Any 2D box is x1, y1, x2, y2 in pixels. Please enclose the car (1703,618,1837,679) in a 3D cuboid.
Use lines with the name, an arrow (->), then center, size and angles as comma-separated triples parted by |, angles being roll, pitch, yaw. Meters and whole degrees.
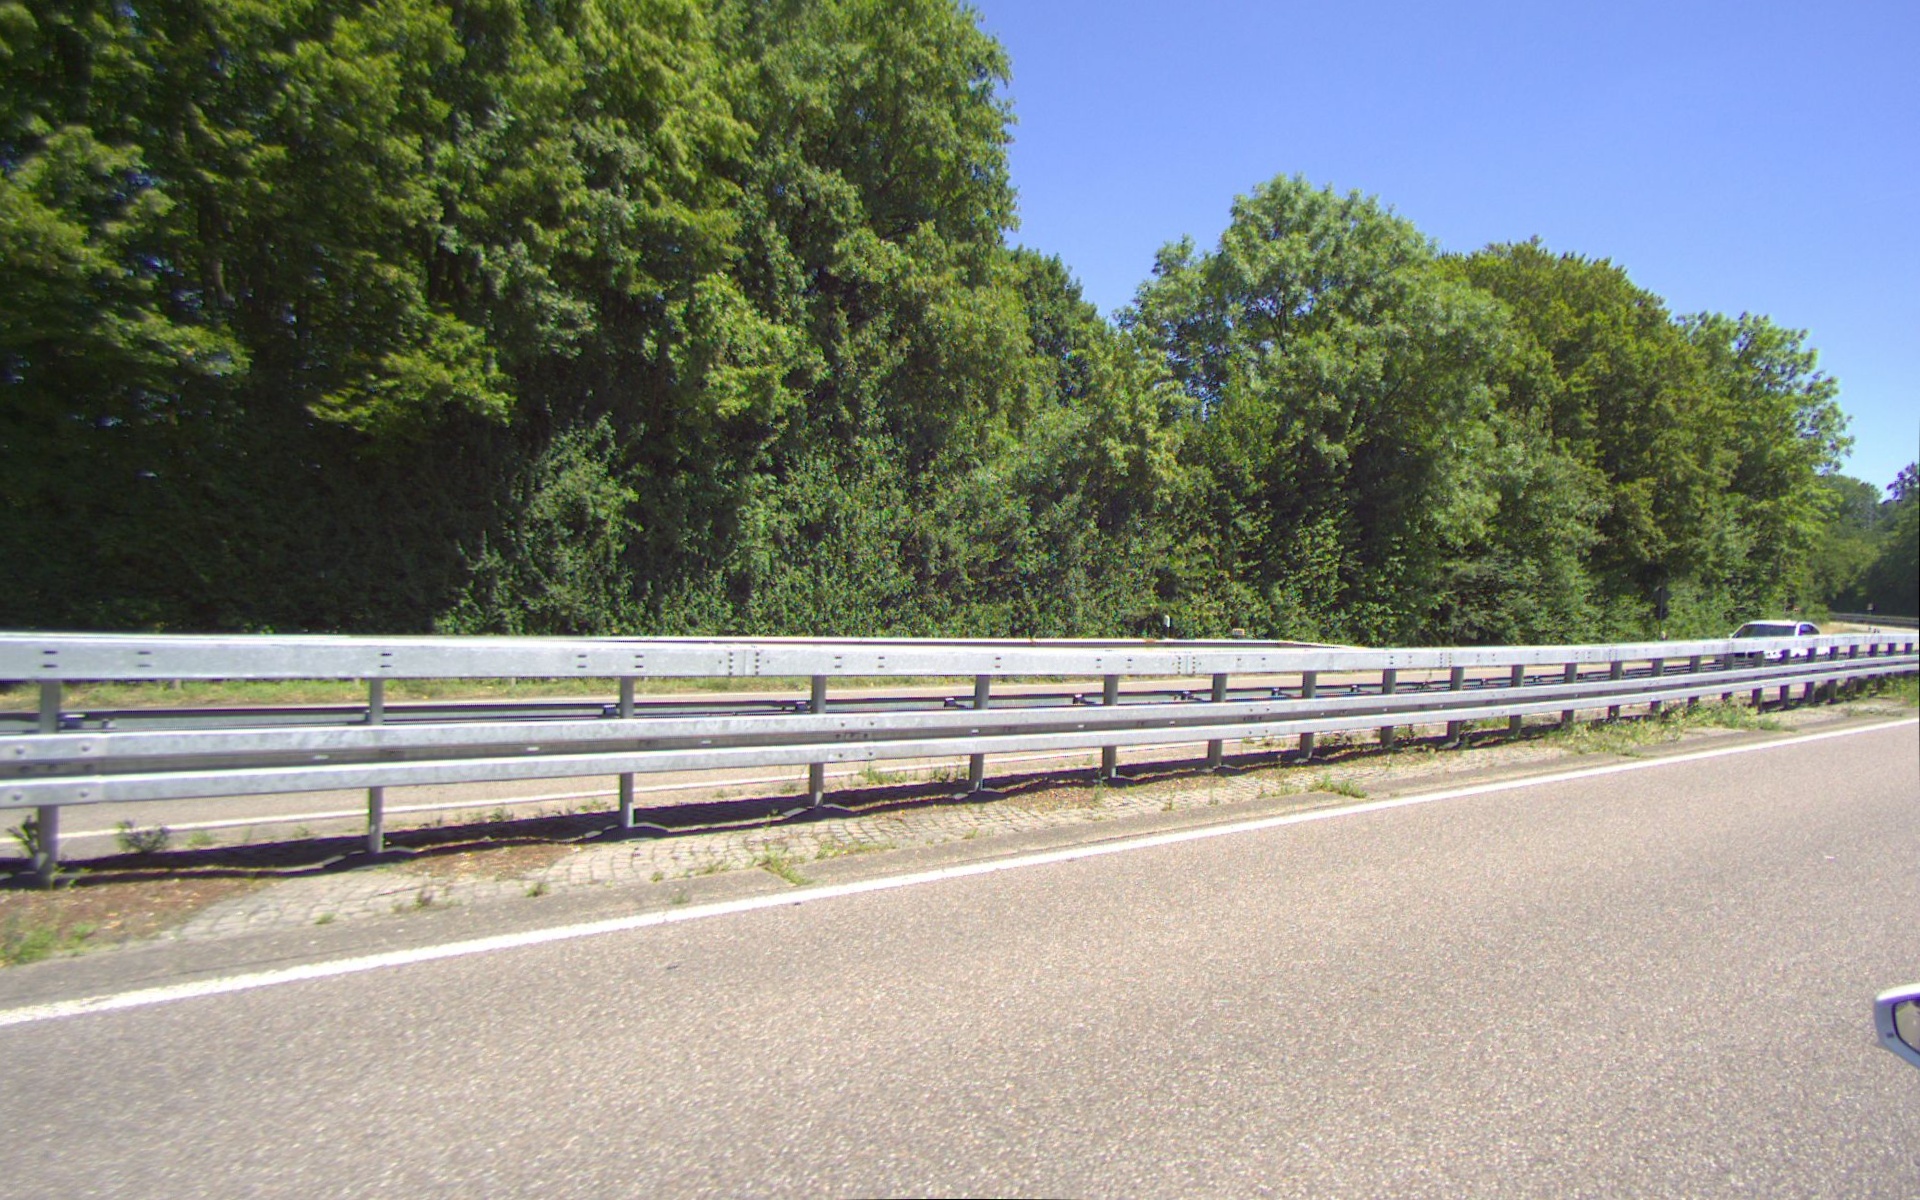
car -> 23.143, 1.337, 28.669 | 4.367, 1.594, 1.745 | 1, 0, -34
